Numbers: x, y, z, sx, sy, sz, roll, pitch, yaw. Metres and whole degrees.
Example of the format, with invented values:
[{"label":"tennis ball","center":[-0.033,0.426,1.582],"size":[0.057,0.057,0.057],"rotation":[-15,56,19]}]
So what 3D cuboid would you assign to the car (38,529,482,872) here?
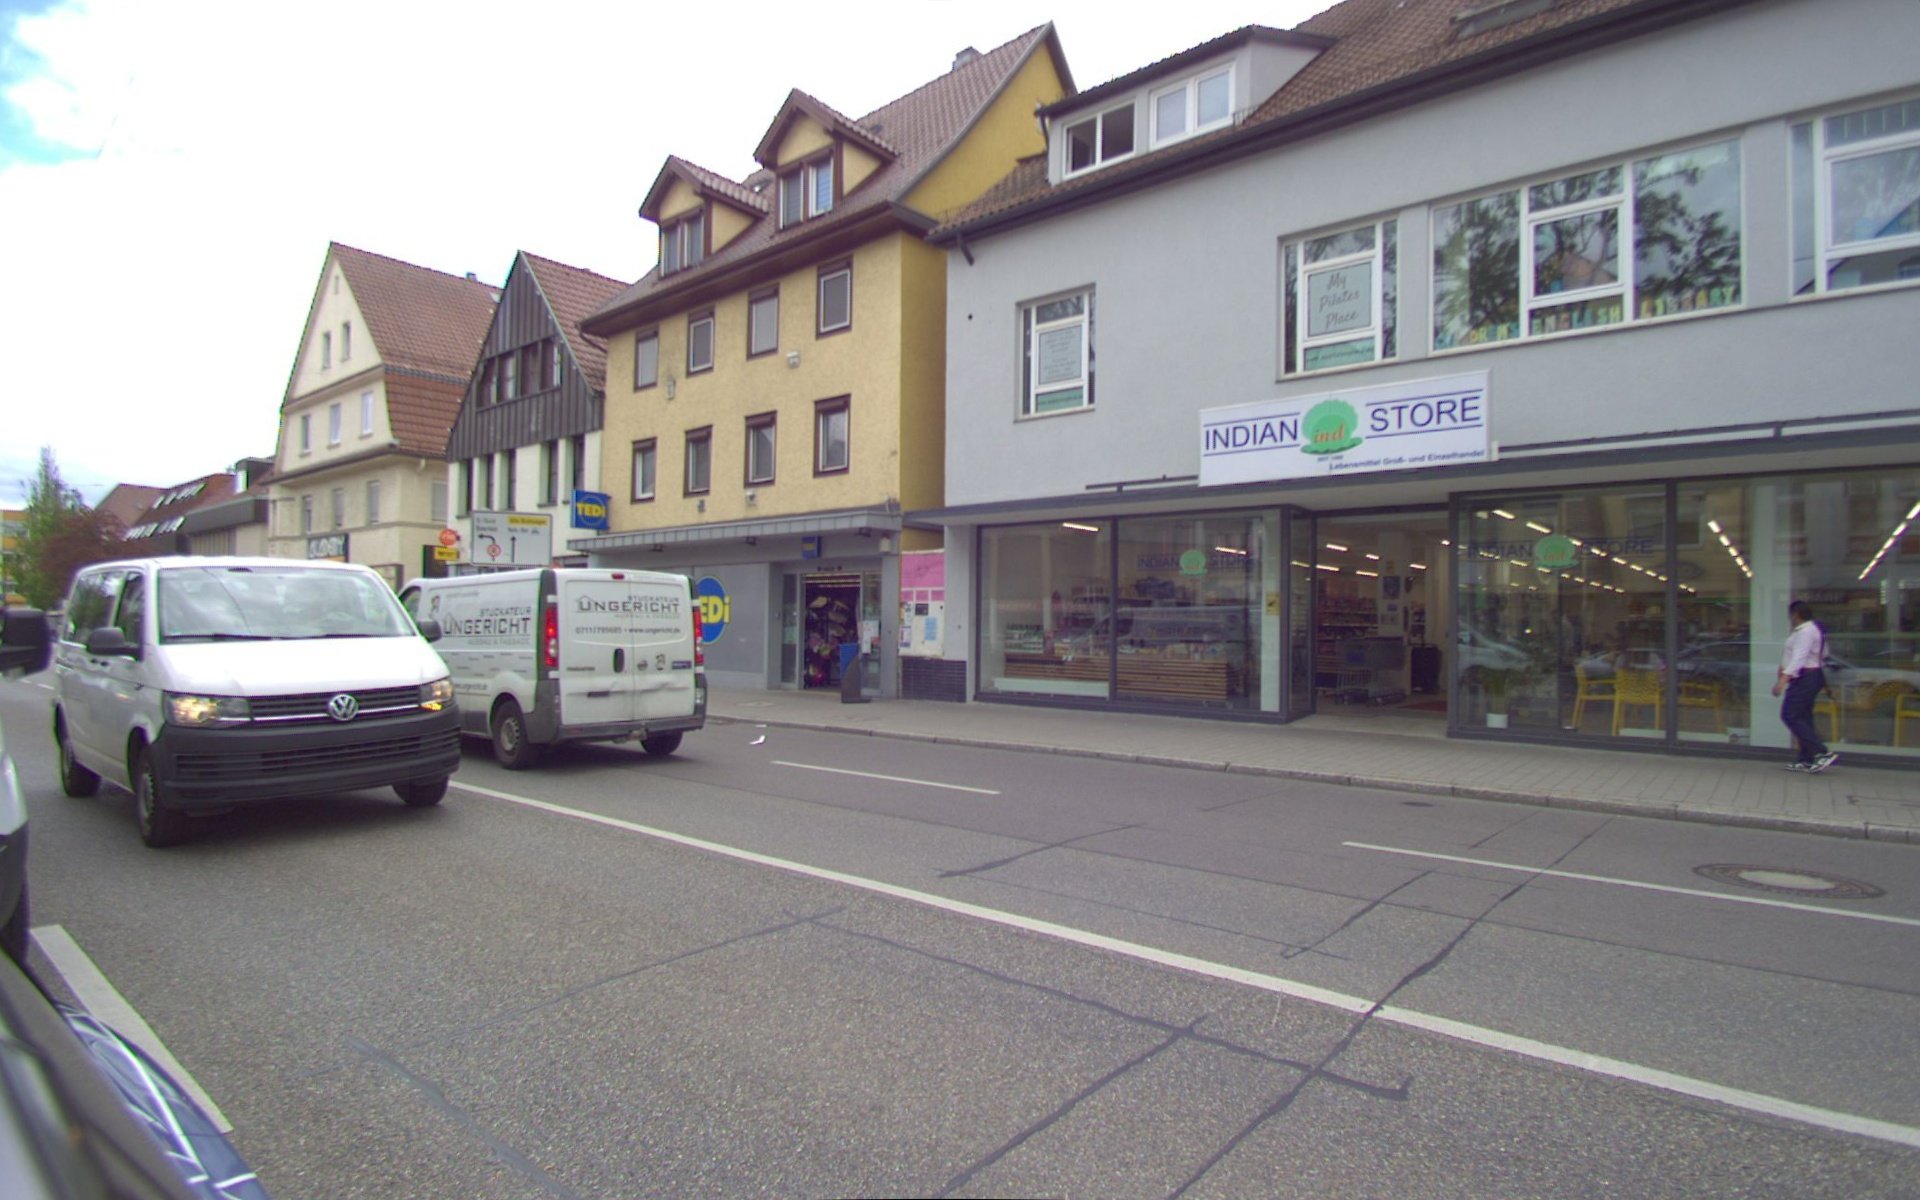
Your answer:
[{"label":"car","center":[-5.814,0.648,8.126],"size":[4.850,1.974,1.806],"rotation":[-2,-2,41]}]

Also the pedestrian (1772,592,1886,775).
[{"label":"pedestrian","center":[8.156,0.756,9.514],"size":[0.752,1.622,0.720],"rotation":[-2,-2,41]}]

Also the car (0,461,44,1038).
[{"label":"car","center":[-5.795,0.559,4.492],"size":[5.161,1.974,1.939],"rotation":[-1,-1,41]}]

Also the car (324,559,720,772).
[{"label":"car","center":[-5.124,0.674,11.468],"size":[5.153,1.902,1.973],"rotation":[-2,-3,40]}]
